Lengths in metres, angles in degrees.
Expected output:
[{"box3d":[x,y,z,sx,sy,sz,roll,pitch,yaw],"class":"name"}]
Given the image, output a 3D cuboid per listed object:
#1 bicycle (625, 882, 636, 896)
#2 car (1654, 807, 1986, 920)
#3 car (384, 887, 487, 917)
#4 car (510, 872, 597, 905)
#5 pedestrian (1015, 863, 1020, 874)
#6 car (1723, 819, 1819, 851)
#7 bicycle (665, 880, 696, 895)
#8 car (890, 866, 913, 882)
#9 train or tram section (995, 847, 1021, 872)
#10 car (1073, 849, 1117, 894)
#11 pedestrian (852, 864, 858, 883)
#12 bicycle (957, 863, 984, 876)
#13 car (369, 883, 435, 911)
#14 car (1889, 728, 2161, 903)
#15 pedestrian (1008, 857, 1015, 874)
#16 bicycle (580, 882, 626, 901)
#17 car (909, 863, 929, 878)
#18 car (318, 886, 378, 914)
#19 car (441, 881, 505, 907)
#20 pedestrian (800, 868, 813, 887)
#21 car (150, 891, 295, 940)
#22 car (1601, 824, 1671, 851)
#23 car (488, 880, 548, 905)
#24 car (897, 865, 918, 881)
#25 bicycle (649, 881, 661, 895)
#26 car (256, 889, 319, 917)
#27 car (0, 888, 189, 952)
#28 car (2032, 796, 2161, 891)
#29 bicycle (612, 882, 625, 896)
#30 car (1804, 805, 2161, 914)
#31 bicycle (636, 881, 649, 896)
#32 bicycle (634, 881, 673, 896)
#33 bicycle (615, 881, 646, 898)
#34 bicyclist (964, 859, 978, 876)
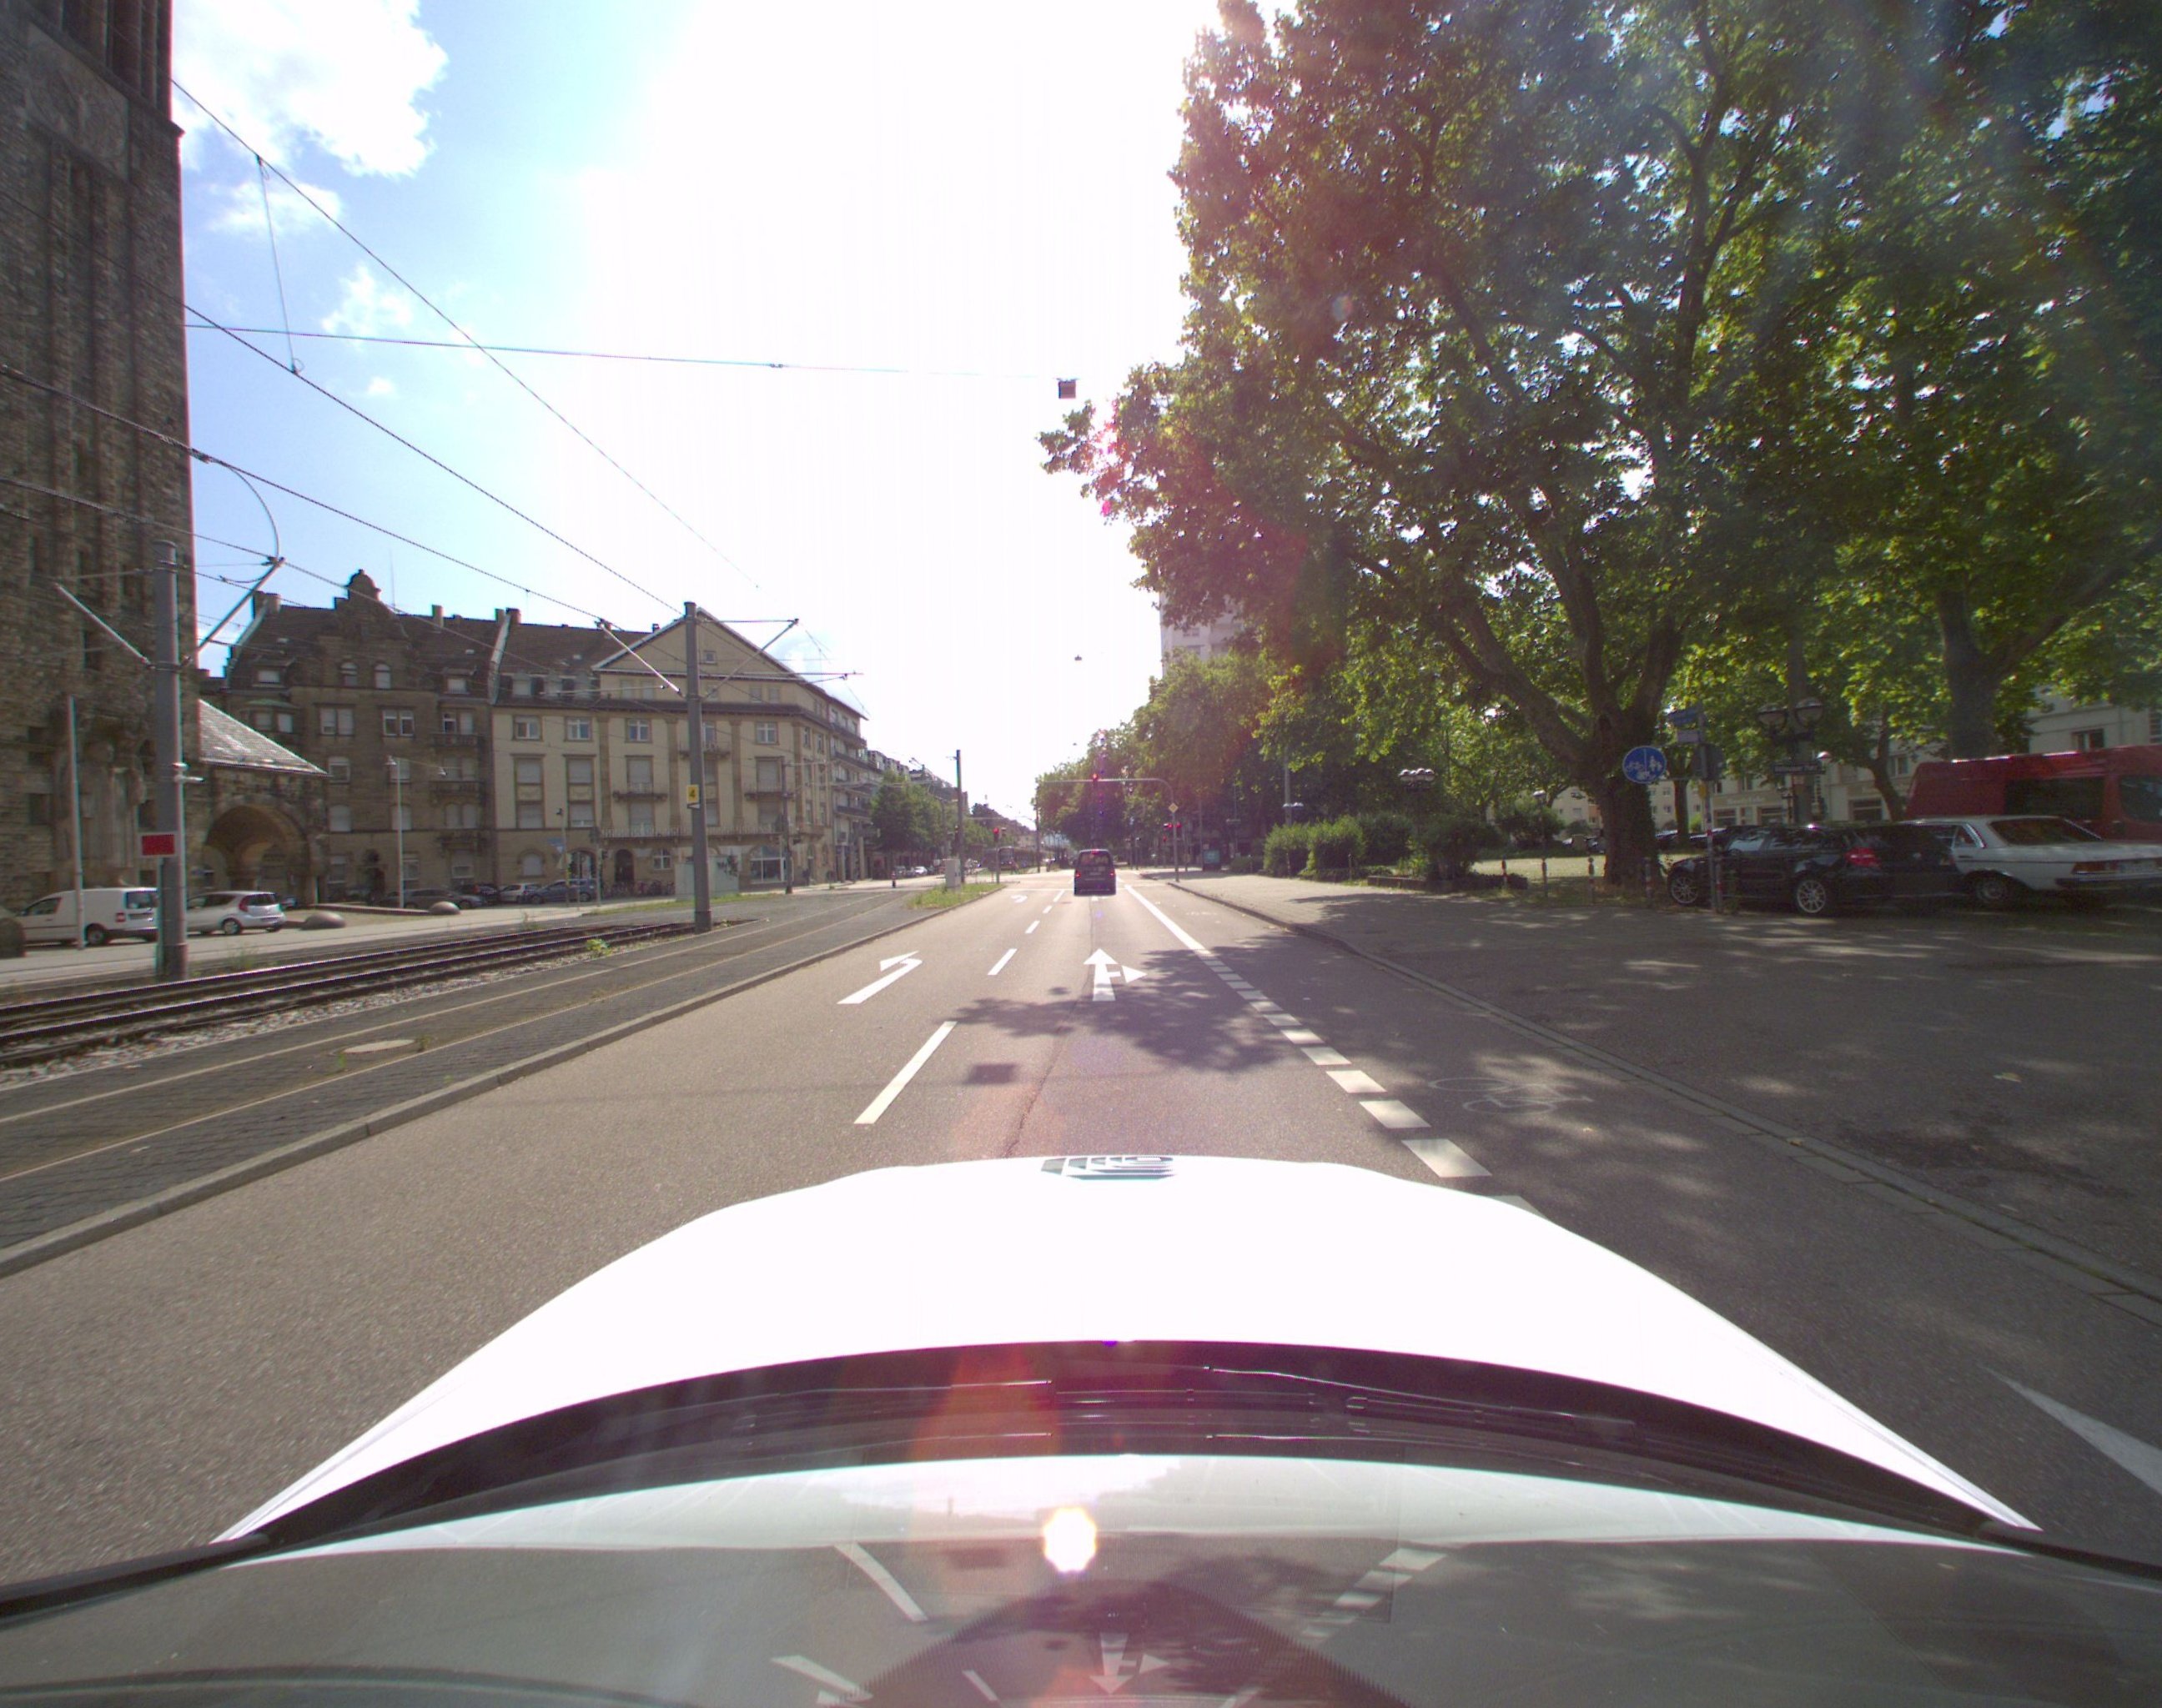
[{"box3d":[-35.391,2.738,63.992,0.744,1.053,2.542,-2,0,-28],"class":"bicycle"},{"box3d":[11.544,0.134,13.168,1.643,1.470,4.042,-3,0,0],"class":"car"},{"box3d":[-39.404,2.912,49.858,4.576,1.436,1.693,-3,0,-23],"class":"car"},{"box3d":[-37.096,2.376,57.385,4.814,2.013,1.983,-3,0,-25],"class":"car"},{"box3d":[-6.627,1.495,85.025,0.462,1.144,0.435,-3,0,1],"class":"pedestrian"},{"box3d":[47.327,-1.258,55.935,4.662,1.930,2.193,-3,0,2],"class":"car"},{"box3d":[-32.185,2.662,65.519,0.798,1.053,2.575,-3,0,13],"class":"bicycle"},{"box3d":[-24.219,2.638,109.890,1.987,2.013,4.000,-3,0,1],"class":"car"},{"box3d":[-10.561,0.806,119.390,2.233,3.331,12.973,-3,0,1],"class":"train or tram section"},{"box3d":[0.605,0.703,34.751,1.744,1.809,3.475,-1,0,1],"class":"car"},{"box3d":[-23.766,2.031,85.672,0.476,2.013,0.419,-3,0,-5],"class":"pedestrian"},{"box3d":[-10.000,1.414,73.857,2.280,1.048,0.902,-3,0,26],"class":"bicycle"},{"box3d":[-47.638,3.018,57.112,3.950,1.735,2.012,-3,0,25],"class":"car"},{"box3d":[17.016,-0.616,13.111,2.103,2.582,6.023,-3,0,2],"class":"car"},{"box3d":[-7.210,1.198,84.531,0.657,1.784,0.660,-3,0,1],"class":"pedestrian"},{"box3d":[-36.573,2.886,62.322,3.284,1.253,1.003,-3,0,17],"class":"bicycle"},{"box3d":[-24.639,2.485,123.969,1.987,2.013,4.000,-3,0,1],"class":"car"},{"box3d":[-50.253,3.174,55.811,3.948,1.759,1.899,-3,0,31],"class":"car"},{"box3d":[-43.834,2.908,58.750,3.950,1.673,2.012,-3,0,25],"class":"car"},{"box3d":[-24.387,2.084,72.342,0.685,1.596,0.867,-3,0,29],"class":"pedestrian"},{"box3d":[-31.603,2.253,30.067,3.256,1.502,1.854,-3,0,-1],"class":"car"},{"box3d":[46.670,-1.348,68.522,4.398,2.013,2.078,-3,0,1],"class":"car"},{"box3d":[-41.615,2.819,60.181,3.950,1.639,1.813,-3,0,25],"class":"car"},{"box3d":[-24.569,2.679,115.459,1.987,2.013,4.000,-3,0,1],"class":"car"},{"box3d":[-33.882,2.706,64.755,0.808,1.053,2.542,-2,0,-28],"class":"bicycle"},{"box3d":[-53.149,3.288,54.526,3.948,1.737,2.013,-3,0,31],"class":"car"},{"box3d":[-32.420,2.128,26.787,3.860,1.748,1.893,-3,0,-3],"class":"car"},{"box3d":[19.748,-0.212,13.775,1.998,1.651,4.655,-1,0,2],"class":"car"},{"box3d":[-36.322,2.761,63.961,0.744,1.053,2.343,-2,0,-28],"class":"bicycle"},{"box3d":[14.271,0.066,13.048,1.645,1.429,4.038,-3,0,-3],"class":"car"},{"box3d":[-34.642,2.722,64.346,0.808,1.053,2.542,-2,0,-28],"class":"bicycle"},{"box3d":[-33.151,2.679,63.201,2.572,1.053,0.676,-3,0,-27],"class":"bicycle"},{"box3d":[-34.184,2.693,61.788,1.985,1.114,0.482,-3,0,-36],"class":"bicycle"},{"box3d":[-9.979,1.214,73.841,0.988,1.511,0.785,-3,0,25],"class":"bicyclist"}]
